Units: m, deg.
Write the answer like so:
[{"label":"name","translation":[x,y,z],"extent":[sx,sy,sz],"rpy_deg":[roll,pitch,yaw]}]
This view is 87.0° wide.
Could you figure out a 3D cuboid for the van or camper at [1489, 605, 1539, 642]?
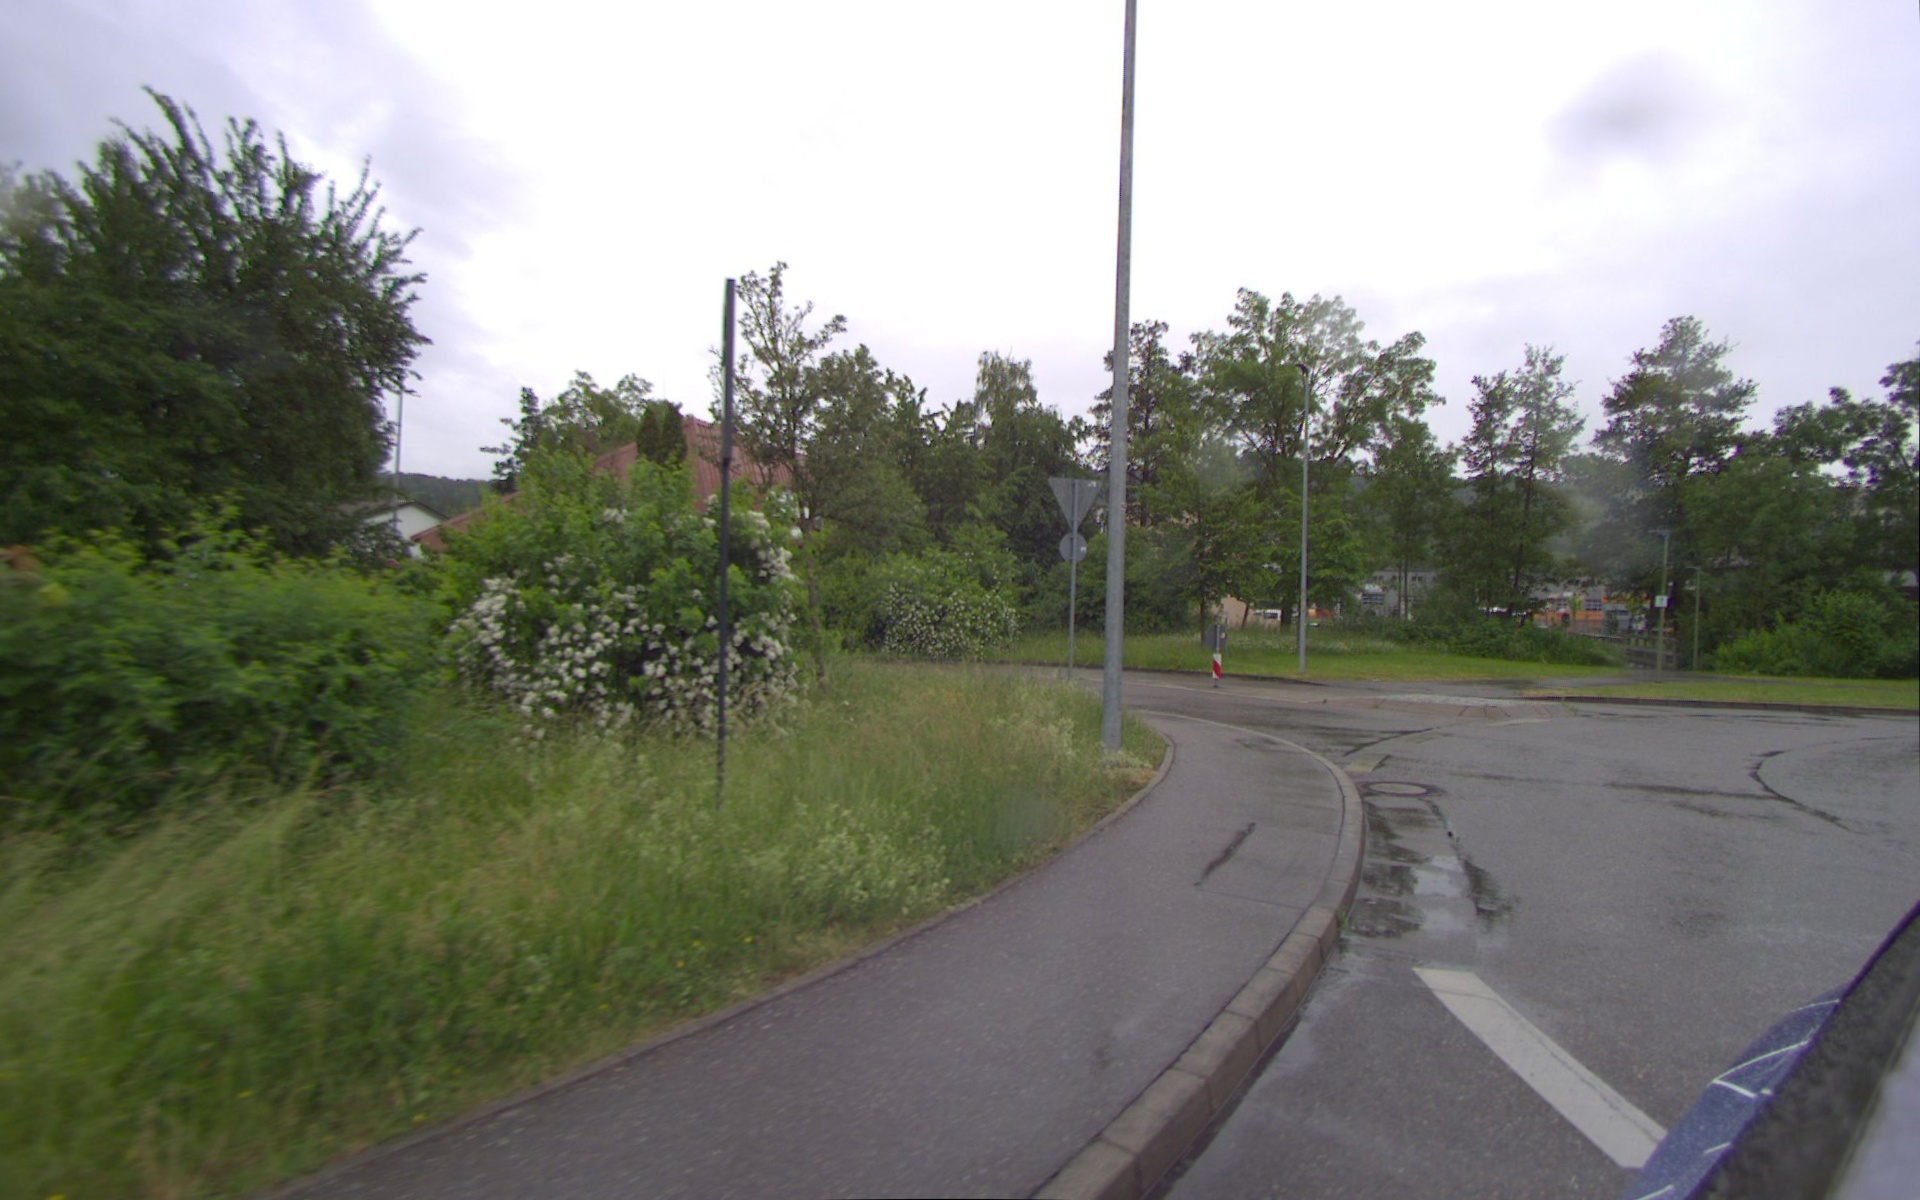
[{"label":"van or camper","translation":[37.767,1.573,69.134],"extent":[2.517,2.272,5.924],"rpy_deg":[3,1,25]}]

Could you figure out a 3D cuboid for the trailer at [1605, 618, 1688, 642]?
[{"label":"trailer","translation":[67.137,2.865,99.059],"extent":[6.599,2.039,2.543],"rpy_deg":[1,1,37]}]
